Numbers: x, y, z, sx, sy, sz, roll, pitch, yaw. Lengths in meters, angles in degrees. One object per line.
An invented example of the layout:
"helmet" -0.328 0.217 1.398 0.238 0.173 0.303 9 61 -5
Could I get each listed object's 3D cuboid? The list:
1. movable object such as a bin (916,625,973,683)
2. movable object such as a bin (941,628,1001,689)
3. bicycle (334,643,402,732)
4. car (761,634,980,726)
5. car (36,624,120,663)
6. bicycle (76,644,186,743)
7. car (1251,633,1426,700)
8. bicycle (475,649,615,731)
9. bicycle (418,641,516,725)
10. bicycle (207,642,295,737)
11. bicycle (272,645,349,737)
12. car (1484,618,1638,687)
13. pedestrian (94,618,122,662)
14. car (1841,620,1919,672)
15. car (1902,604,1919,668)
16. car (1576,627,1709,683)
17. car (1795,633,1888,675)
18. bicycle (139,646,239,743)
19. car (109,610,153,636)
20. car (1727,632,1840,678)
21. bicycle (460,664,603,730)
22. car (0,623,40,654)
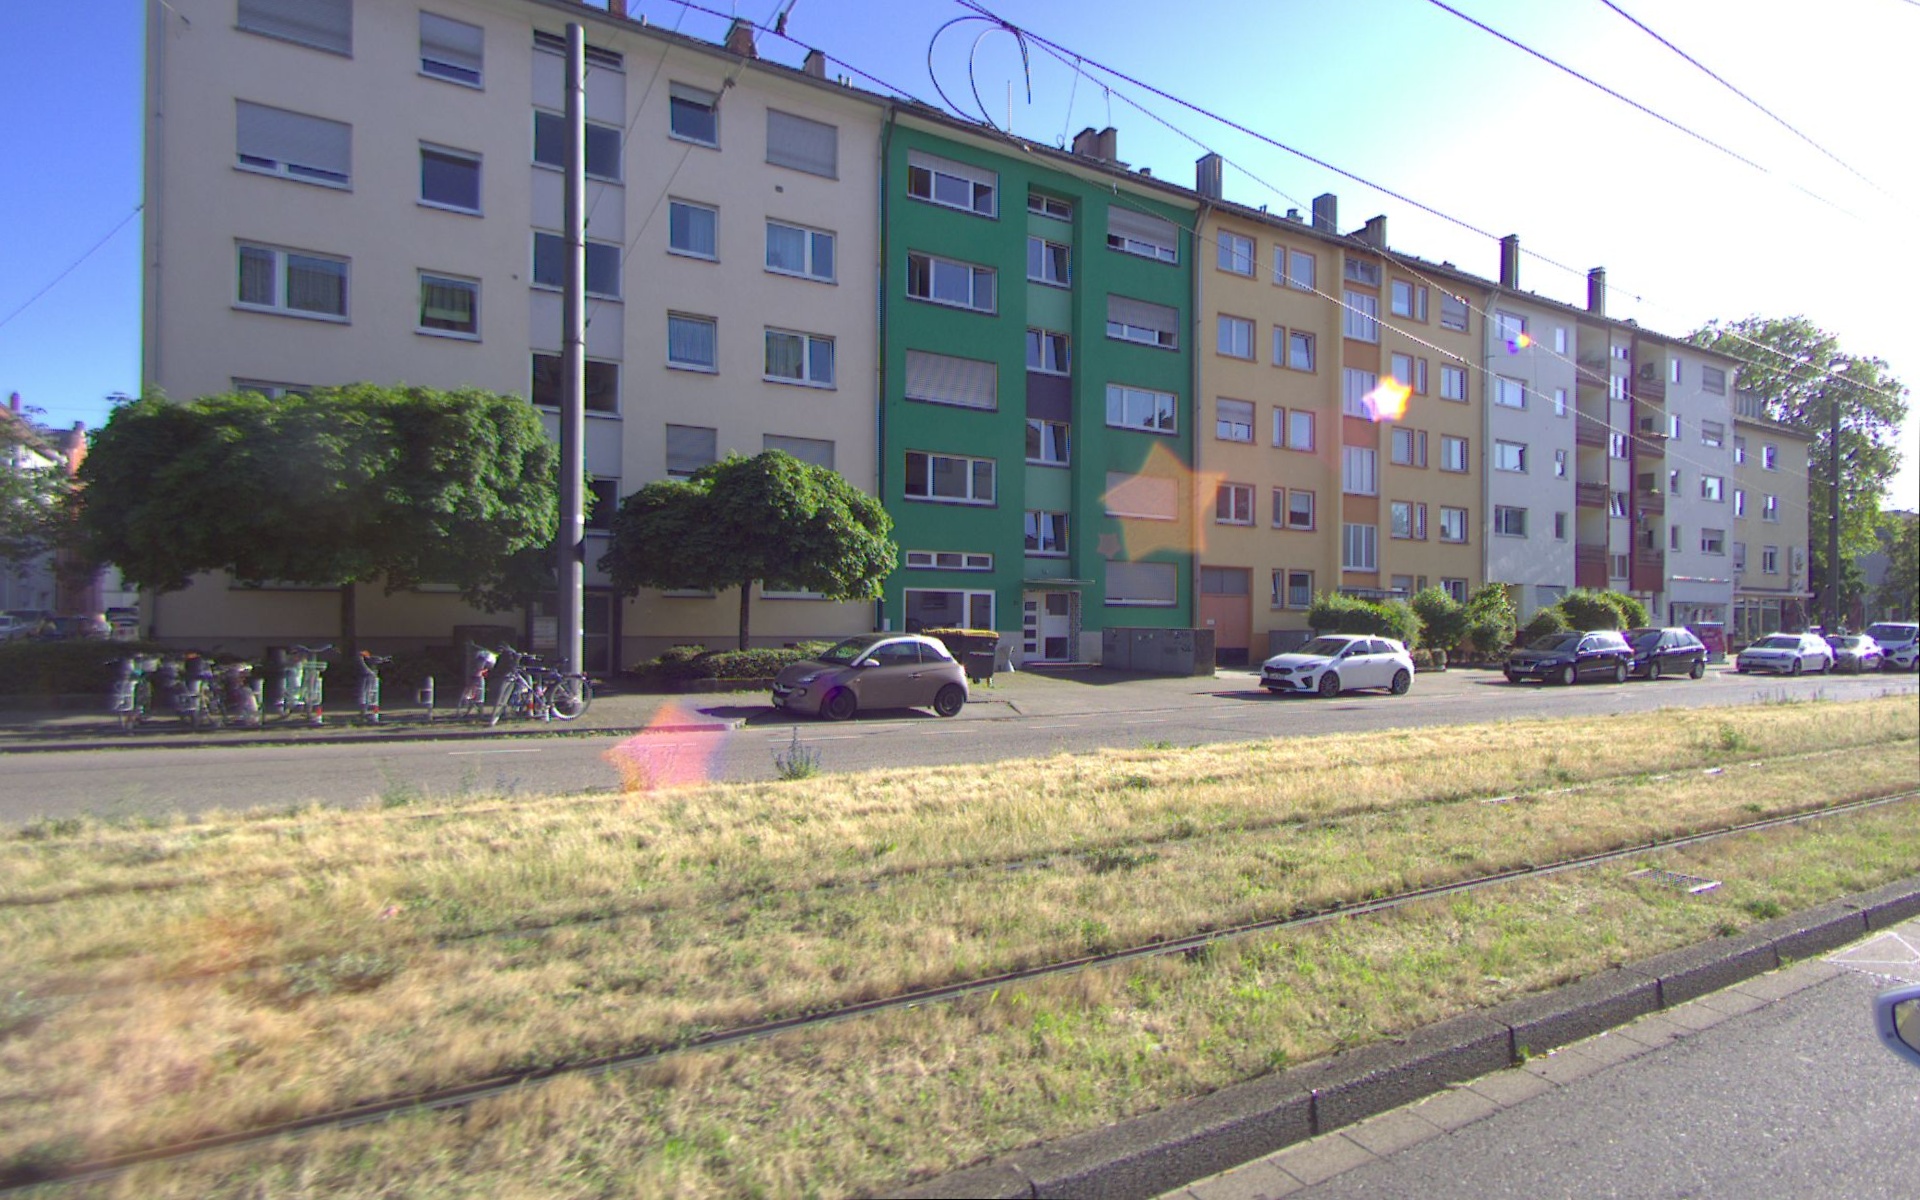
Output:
"movable object such as a bin" -0.399 1.375 25.792 1.026 1.386 1.142 1 1 -27
"movable object such as a bin" 0.256 1.418 24.647 1.026 1.386 1.142 1 1 -27
"bicycle" -8.819 1.265 15.034 0.607 1.107 2.042 1 1 -23
"car" -1.627 1.405 18.597 3.693 1.461 1.626 1 1 -32
"car" -33.852 1.674 38.654 1.753 1.431 3.967 1 -2 -32
"bicycle" -11.312 1.235 13.771 0.607 1.107 2.042 1 1 -23
"car" 9.431 1.595 24.921 4.324 1.474 1.720 1 0 -30
"bicycle" -6.319 1.350 15.376 1.921 1.107 0.504 1 2 -42
"bicycle" -7.798 1.275 15.983 0.603 1.107 2.053 2 1 -3
"bicycle" -10.075 1.227 14.335 0.607 1.107 2.042 1 1 -23
"bicycle" -9.471 1.286 14.707 0.607 1.107 2.042 1 1 -23
"car" 18.147 1.533 30.288 4.555 1.862 1.984 1 1 -30
"pedestrian" -29.828 1.394 35.177 0.659 1.514 0.584 1 2 -32
"car" 40.413 1.937 43.269 5.305 2.048 2.023 1 1 -29
"car" 46.547 1.710 46.846 6.152 2.907 2.023 1 0 -29
"car" 22.297 1.739 32.804 4.102 1.629 1.984 1 1 -30
"car" 35.316 2.118 40.224 4.279 1.535 1.685 1 0 -33
"bicycle" -10.722 1.264 14.039 0.607 1.107 2.042 1 1 -23
"car" -63.871 1.809 77.457 1.994 1.935 4.461 1 -3 -32
"car" 30.834 2.019 37.576 4.651 1.511 1.882 1 1 -32
"bicycle" -6.660 1.496 15.715 2.039 0.877 0.373 1 2 -42
"car" -46.334 1.891 48.715 1.753 1.431 3.967 1 -2 -32
